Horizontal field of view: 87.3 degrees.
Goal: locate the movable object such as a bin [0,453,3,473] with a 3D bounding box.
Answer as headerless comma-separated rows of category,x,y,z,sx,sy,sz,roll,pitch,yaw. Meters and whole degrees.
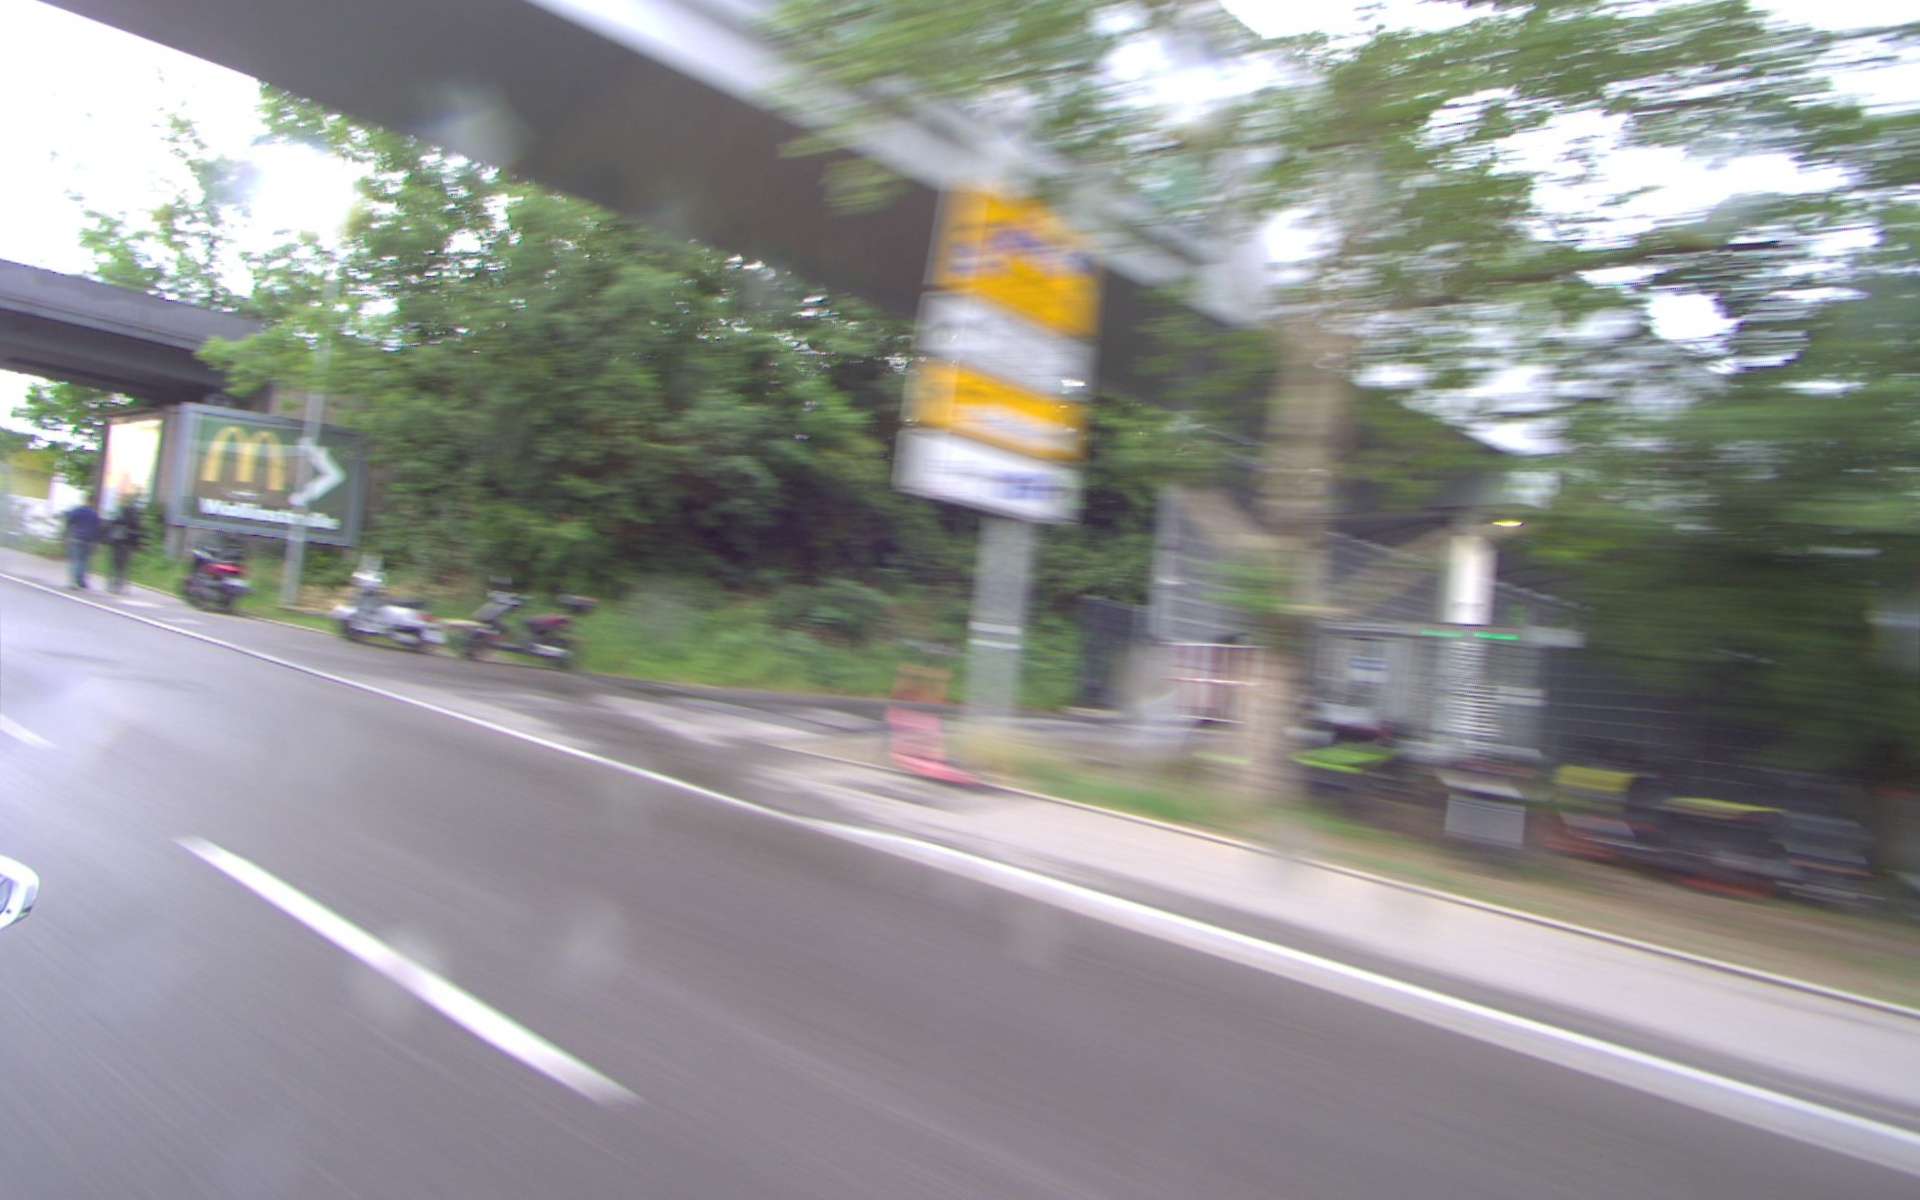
movable object such as a bin,-74.276,-9.740,75.025,5.329,3.314,2.309,8,-1,27

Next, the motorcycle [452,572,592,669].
motorcycle,-7.091,0.338,16.391,1.918,1.313,0.545,8,-1,-20

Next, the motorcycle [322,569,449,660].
motorcycle,-9.281,0.235,16.250,1.908,1.227,0.471,7,0,16

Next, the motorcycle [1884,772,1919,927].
motorcycle,9.248,2.287,8.492,1.960,1.294,0.646,6,-1,35

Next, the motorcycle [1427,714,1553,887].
motorcycle,4.787,1.750,9.203,0.618,1.267,1.855,7,-1,20

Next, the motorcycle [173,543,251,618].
motorcycle,-13.320,-0.354,17.894,1.790,1.150,0.470,6,-1,35

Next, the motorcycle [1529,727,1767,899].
motorcycle,6.768,2.058,10.017,0.515,1.294,1.844,8,-1,-24

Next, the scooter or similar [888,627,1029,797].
scooter or similar,-0.041,0.962,8.934,0.310,1.314,1.292,8,-2,-43

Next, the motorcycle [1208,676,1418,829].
motorcycle,3.652,1.568,10.494,1.820,1.267,0.630,8,-1,0

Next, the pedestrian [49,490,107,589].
pedestrian,-16.432,-1.129,18.737,0.609,1.741,0.880,8,-1,-45

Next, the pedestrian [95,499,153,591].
pedestrian,-15.639,-1.024,18.822,0.649,1.615,0.571,8,-1,-43

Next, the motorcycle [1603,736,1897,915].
motorcycle,7.876,2.204,10.201,0.515,1.294,2.269,7,-2,-24

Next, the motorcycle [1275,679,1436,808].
motorcycle,4.952,1.765,12.762,0.345,1.294,2.058,8,-1,-26
